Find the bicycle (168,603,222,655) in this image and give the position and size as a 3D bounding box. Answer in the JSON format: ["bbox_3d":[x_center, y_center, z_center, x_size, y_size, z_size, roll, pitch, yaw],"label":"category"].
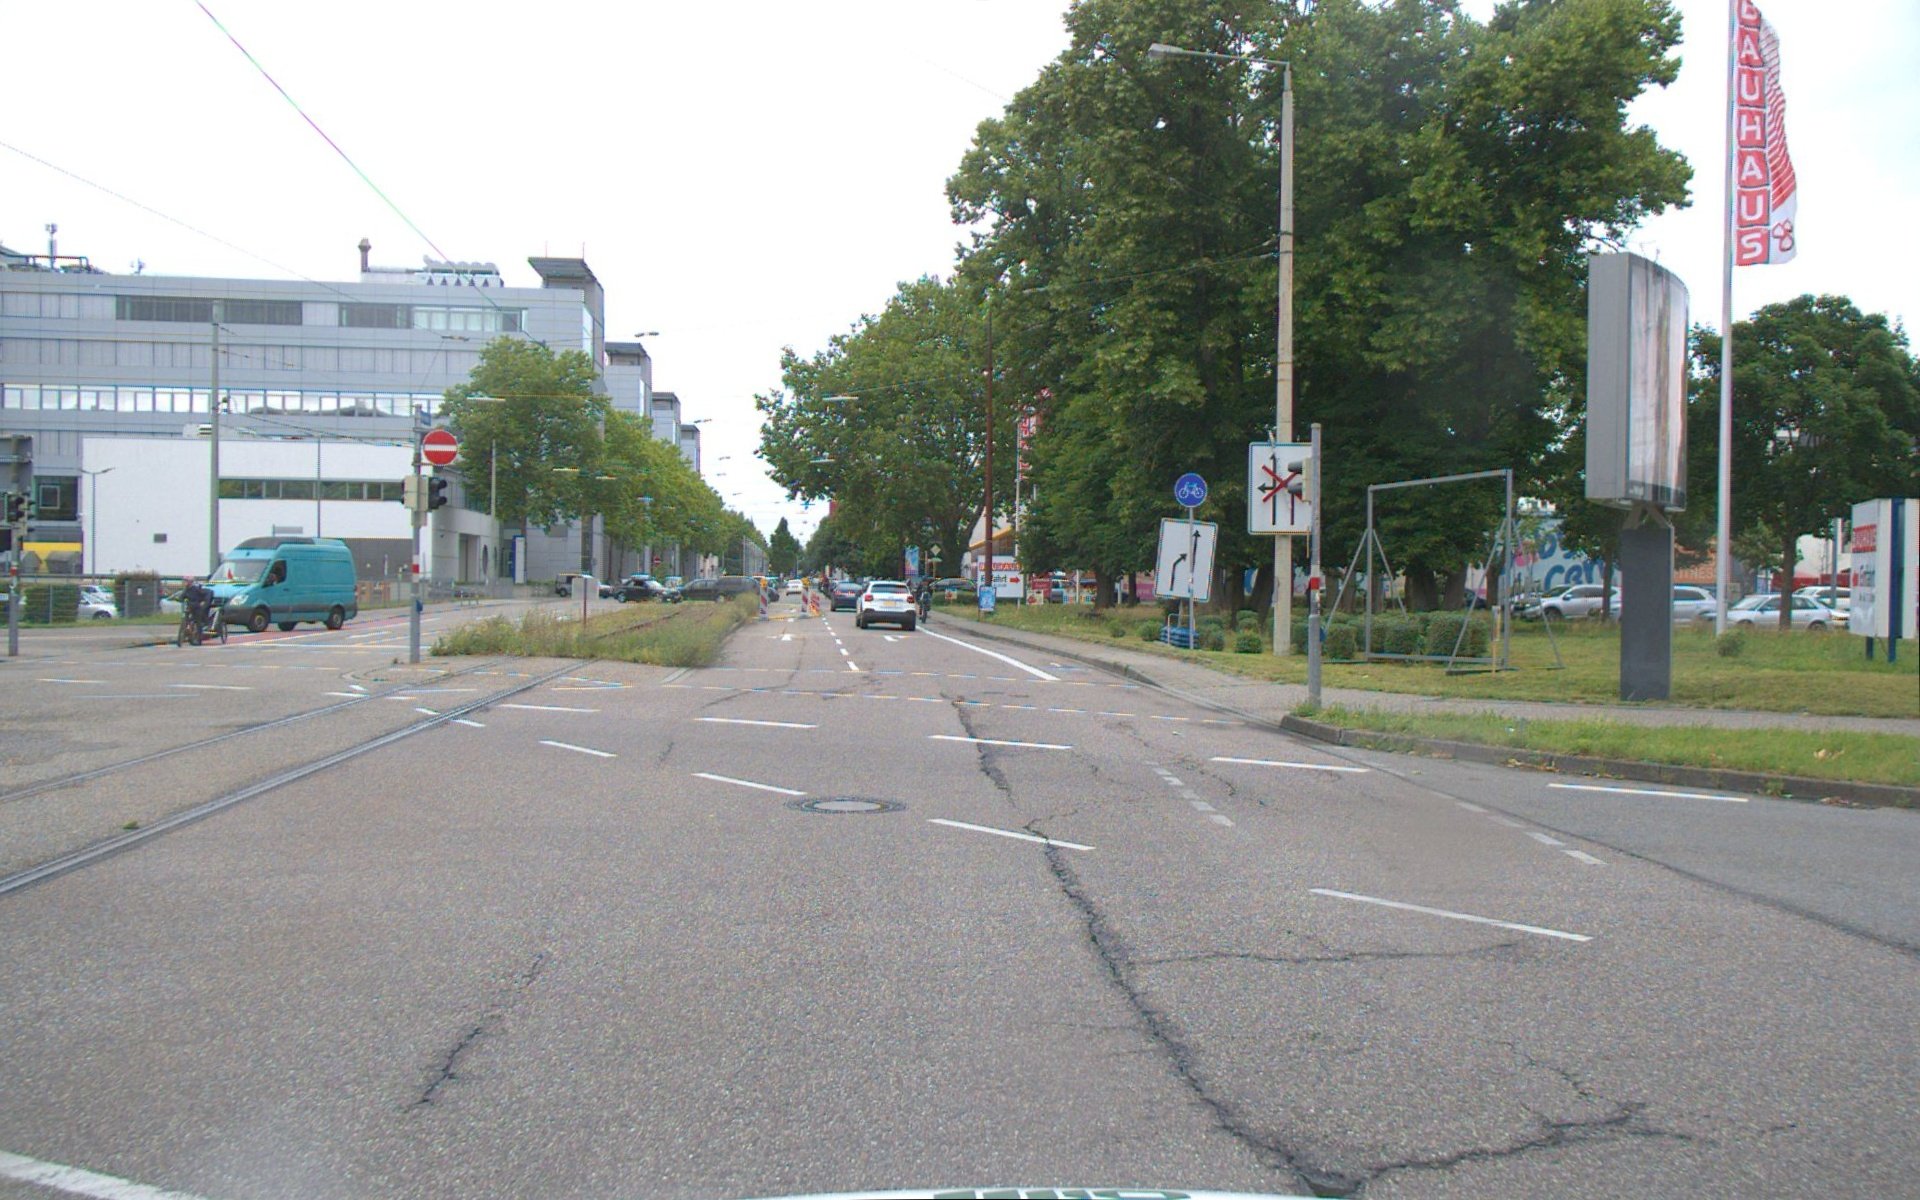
[{"bbox_3d":[-17.517,0.647,37.896,0.634,1.081,2.018,2,1,-12],"label":"bicycle"}]

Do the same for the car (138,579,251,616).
[{"bbox_3d":[-35.912,-0.122,77.672,4.442,1.662,1.909,0,0,-9],"label":"car"}]

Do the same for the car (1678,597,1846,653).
[{"bbox_3d":[24.768,0.767,51.113,4.363,1.523,1.926,3,0,-11],"label":"car"}]

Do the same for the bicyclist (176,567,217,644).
[{"bbox_3d":[-17.495,0.120,37.910,0.634,1.713,0.684,2,0,-12],"label":"bicyclist"}]

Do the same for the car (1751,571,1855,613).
[{"bbox_3d":[53.008,-0.519,104.098,5.632,2.581,2.071,0,0,-6],"label":"car"}]

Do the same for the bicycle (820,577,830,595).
[{"bbox_3d":[-10.878,-1.158,133.141,0.658,1.418,2.163,2,0,-9],"label":"bicycle"}]

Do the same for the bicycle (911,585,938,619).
[{"bbox_3d":[-1.358,0.060,62.185,0.801,1.234,2.680,1,0,-6],"label":"bicycle"}]

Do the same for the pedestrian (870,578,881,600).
[{"bbox_3d":[-6.722,-0.887,131.628,0.747,1.734,0.680,0,0,-11],"label":"pedestrian"}]

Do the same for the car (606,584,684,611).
[{"bbox_3d":[-18.159,-0.128,95.320,4.031,1.501,1.825,-1,-1,20],"label":"car"}]

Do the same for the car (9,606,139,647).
[{"bbox_3d":[-35.196,1.051,65.798,4.128,1.559,1.911,0,0,-4],"label":"car"}]

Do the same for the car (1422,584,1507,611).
[{"bbox_3d":[30.526,-0.147,100.170,4.465,1.599,2.071,0,0,-6],"label":"car"}]

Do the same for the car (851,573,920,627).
[{"bbox_3d":[-2.439,-0.021,53.293,1.790,1.628,3.768,2,1,-9],"label":"car"}]

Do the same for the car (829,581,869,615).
[{"bbox_3d":[-5.508,-0.122,81.916,1.653,1.540,3.699,2,1,-9],"label":"car"}]

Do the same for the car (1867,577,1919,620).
[{"bbox_3d":[39.337,-0.060,66.756,4.471,1.706,2.150,0,0,-11],"label":"car"}]

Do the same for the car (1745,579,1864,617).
[{"bbox_3d":[38.296,-0.096,75.034,4.471,1.706,2.150,0,0,-11],"label":"car"}]

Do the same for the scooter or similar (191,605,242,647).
[{"bbox_3d":[-17.789,0.614,39.599,0.829,0.923,1.194,2,1,-12],"label":"scooter or similar"}]

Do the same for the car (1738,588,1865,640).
[{"bbox_3d":[29.740,0.490,58.618,1.954,1.699,4.502,2,0,-4],"label":"car"}]

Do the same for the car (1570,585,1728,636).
[{"bbox_3d":[23.873,0.359,57.377,4.586,1.523,2.167,3,0,-8],"label":"car"}]

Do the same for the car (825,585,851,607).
[{"bbox_3d":[-9.374,-0.311,126.779,1.841,1.661,3.994,0,0,-7],"label":"car"}]

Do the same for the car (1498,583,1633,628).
[{"bbox_3d":[23.034,0.213,62.982,4.449,1.523,1.955,3,0,-10],"label":"car"}]

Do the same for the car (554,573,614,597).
[{"bbox_3d":[-28.472,-1.121,125.324,4.334,1.814,1.820,0,0,-12],"label":"car"}]

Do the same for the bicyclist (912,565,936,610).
[{"bbox_3d":[-1.358,-0.467,62.182,0.801,1.658,1.233,0,0,-6],"label":"bicyclist"}]

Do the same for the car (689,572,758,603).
[{"bbox_3d":[-13.766,-0.713,96.449,3.809,1.583,1.823,3,0,-6],"label":"car"}]

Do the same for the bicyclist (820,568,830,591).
[{"bbox_3d":[-10.871,-1.663,133.204,0.658,1.847,0.758,2,0,-9],"label":"bicyclist"}]

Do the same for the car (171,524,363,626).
[{"bbox_3d":[-20.758,-0.722,49.910,2.279,2.875,5.954,0,0,13],"label":"car"}]

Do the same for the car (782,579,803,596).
[{"bbox_3d":[-15.944,-1.220,157.104,1.762,1.540,3.699,2,1,-9],"label":"car"}]

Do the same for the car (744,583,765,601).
[{"bbox_3d":[-18.720,-0.735,150.867,1.841,1.661,3.994,0,0,-7],"label":"car"}]
